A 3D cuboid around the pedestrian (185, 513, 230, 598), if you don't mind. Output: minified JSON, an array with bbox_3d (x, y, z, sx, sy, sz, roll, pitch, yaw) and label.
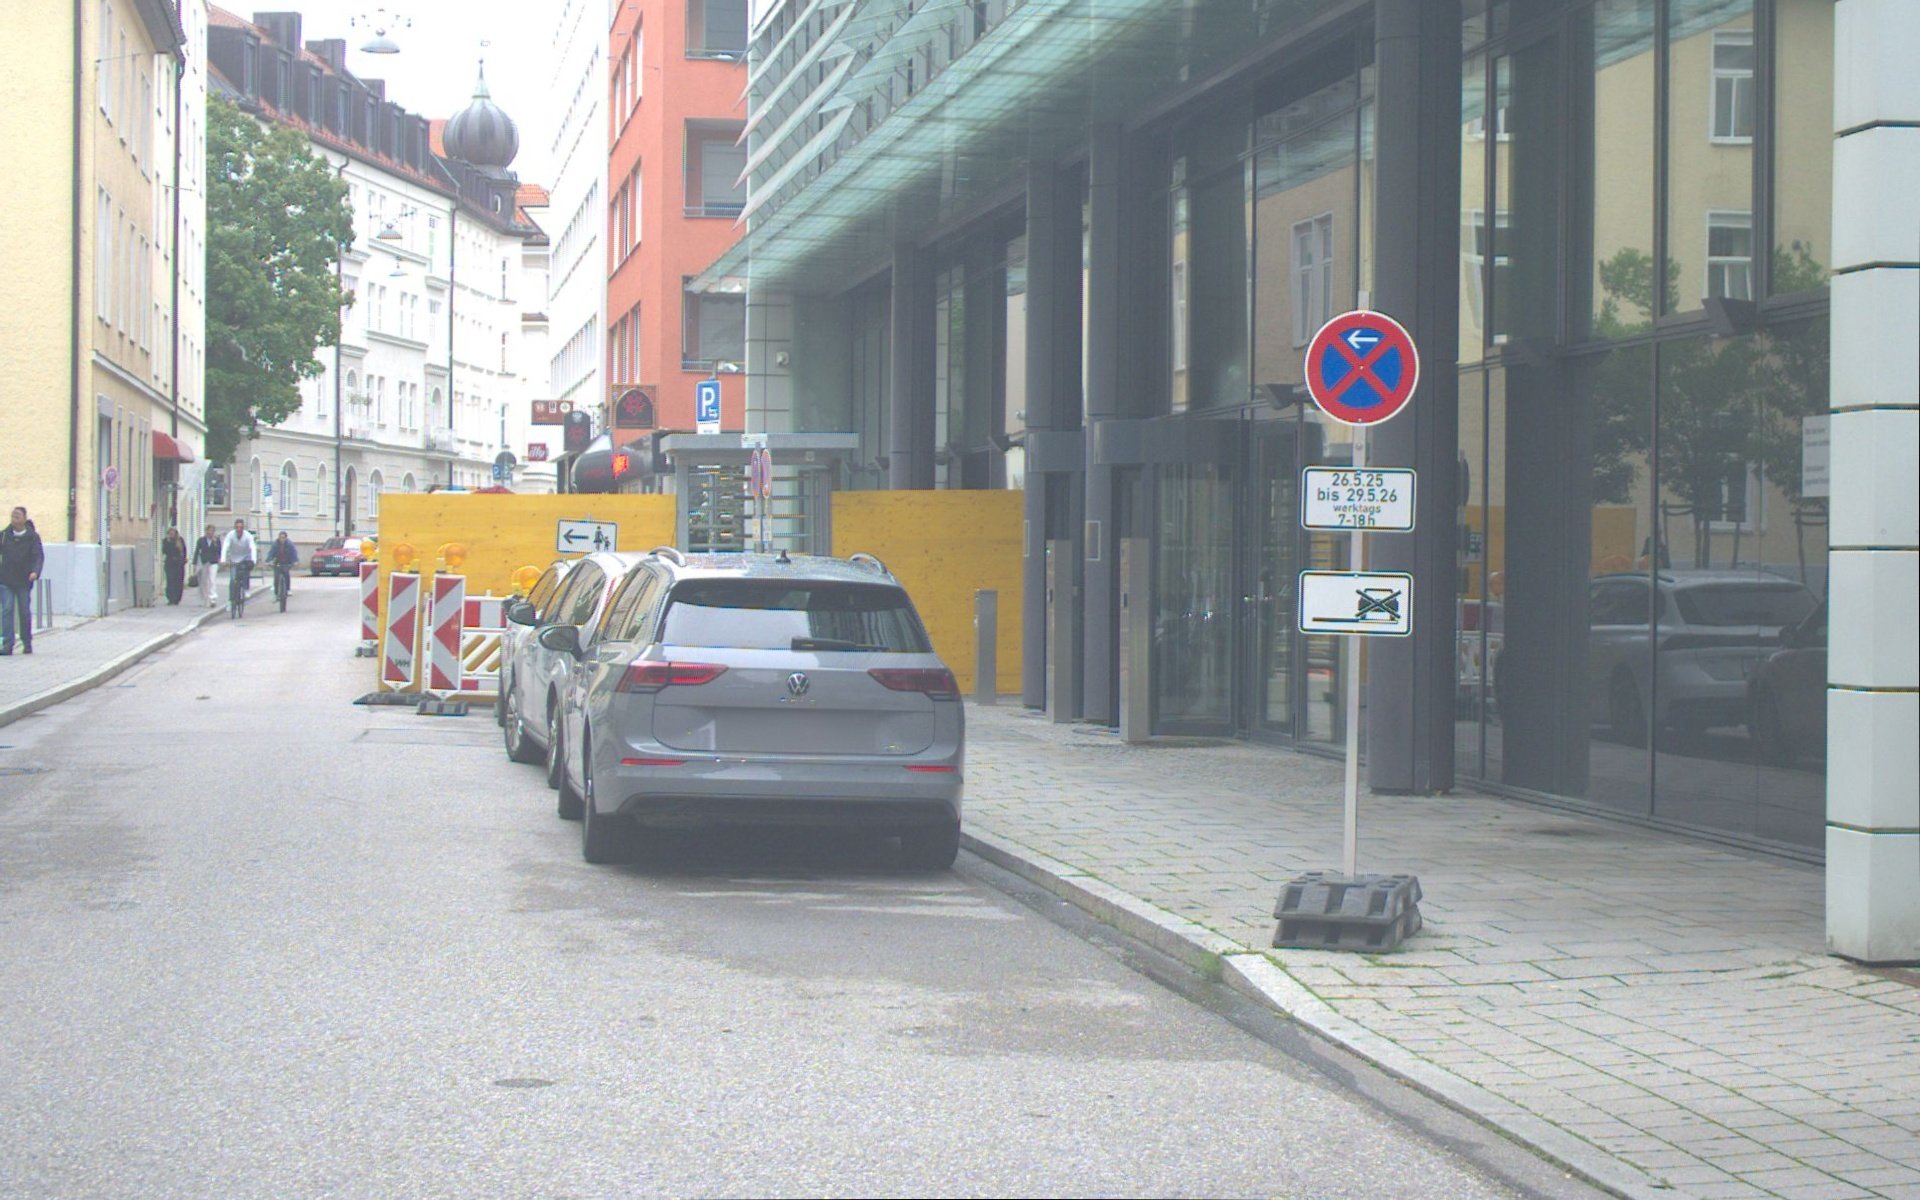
[{"bbox_3d":[-15.328,-0.907,70.040,0.839,1.695,0.803,1,0,-10],"label":"pedestrian"}]

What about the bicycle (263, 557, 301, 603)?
[{"bbox_3d":[-13.596,-0.400,68.950,0.707,0.902,1.810,0,1,-10],"label":"bicycle"}]

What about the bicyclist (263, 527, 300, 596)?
[{"bbox_3d":[-13.591,-0.766,68.910,0.707,1.366,0.813,0,1,-10],"label":"bicyclist"}]

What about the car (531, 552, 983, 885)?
[{"bbox_3d":[-1.136,0.489,17.041,1.707,1.427,4.330,1,1,-10],"label":"car"}]

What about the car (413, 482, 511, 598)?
[{"bbox_3d":[-11.439,-1.372,78.765,1.993,2.528,4.976,1,1,-10],"label":"car"}]

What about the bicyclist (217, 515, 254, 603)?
[{"bbox_3d":[-13.600,-0.773,64.556,0.659,1.637,0.895,0,1,-10],"label":"bicyclist"}]

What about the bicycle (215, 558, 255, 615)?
[{"bbox_3d":[-13.593,-0.264,64.505,0.661,1.035,2.005,0,1,-10],"label":"bicycle"}]

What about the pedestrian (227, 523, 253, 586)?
[{"bbox_3d":[-19.465,-1.237,92.965,0.634,1.669,0.518,1,1,-10],"label":"pedestrian"}]

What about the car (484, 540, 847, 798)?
[{"bbox_3d":[-2.008,0.384,22.264,1.707,1.462,4.238,2,0,-13],"label":"car"}]

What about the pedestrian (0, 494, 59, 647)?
[{"bbox_3d":[-11.773,-0.375,42.968,0.867,1.875,1.135,1,0,-11],"label":"pedestrian"}]

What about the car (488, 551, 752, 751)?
[{"bbox_3d":[-2.783,0.351,27.367,1.707,1.409,4.511,2,0,-10],"label":"car"}]

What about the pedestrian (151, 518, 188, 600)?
[{"bbox_3d":[-16.175,-0.838,70.345,0.670,1.642,0.762,1,0,-10],"label":"pedestrian"}]
